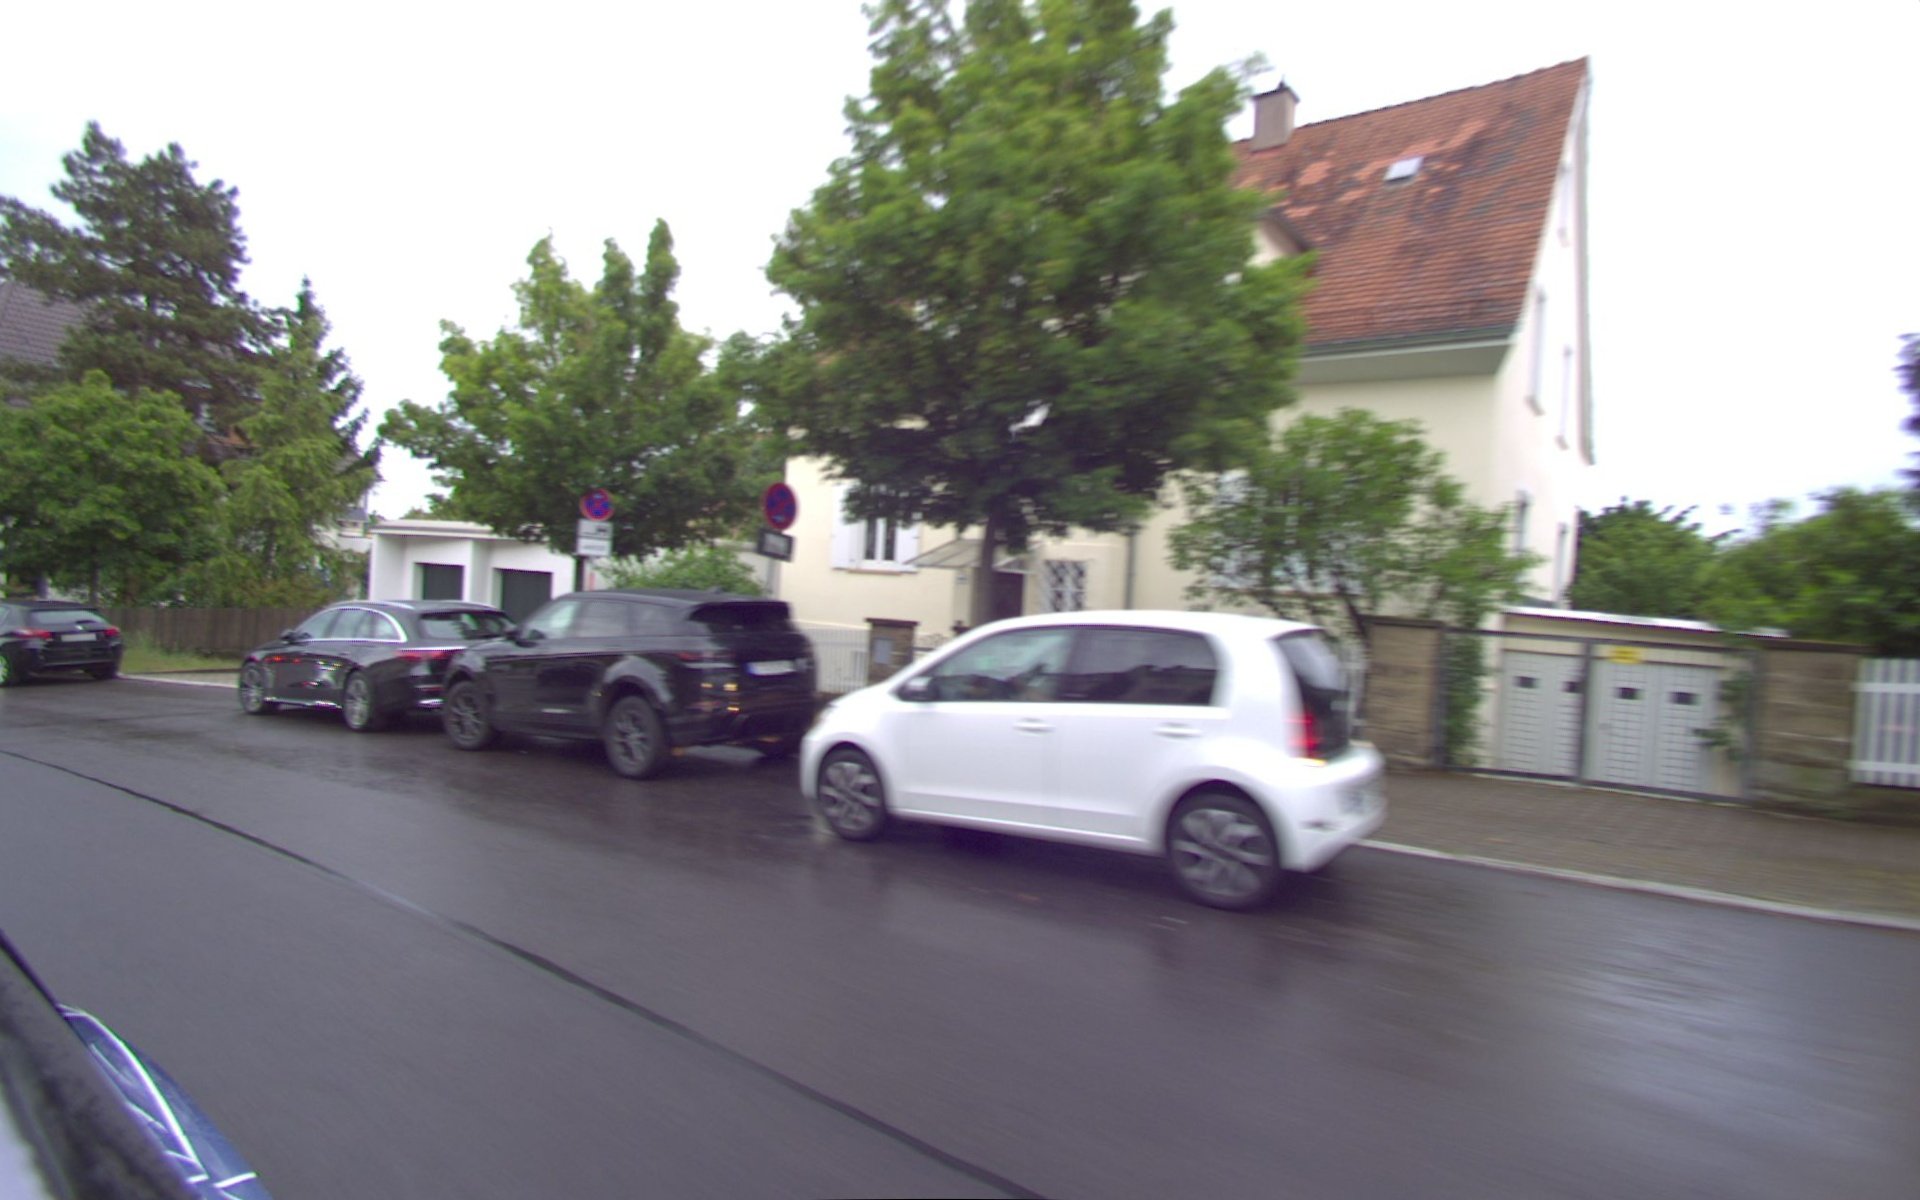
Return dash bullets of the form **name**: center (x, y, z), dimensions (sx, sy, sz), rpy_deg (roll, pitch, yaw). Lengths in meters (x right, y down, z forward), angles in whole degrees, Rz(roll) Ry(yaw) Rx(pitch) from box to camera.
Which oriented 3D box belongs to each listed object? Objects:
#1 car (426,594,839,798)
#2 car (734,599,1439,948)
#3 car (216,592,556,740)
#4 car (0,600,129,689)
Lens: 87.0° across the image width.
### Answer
- **car**: center (-3.263, 0.724, 9.695), dimensions (4.204, 1.557, 1.717), rpy_deg (0, 0, 38)
- **car**: center (0.588, 0.755, 6.226), dimensions (3.994, 1.477, 1.717), rpy_deg (-1, 0, 38)
- **car**: center (-7.358, 0.682, 12.785), dimensions (4.894, 1.557, 1.850), rpy_deg (0, 0, 35)
- **car**: center (-17.192, 0.755, 18.203), dimensions (3.862, 1.477, 1.665), rpy_deg (0, -1, 18)
